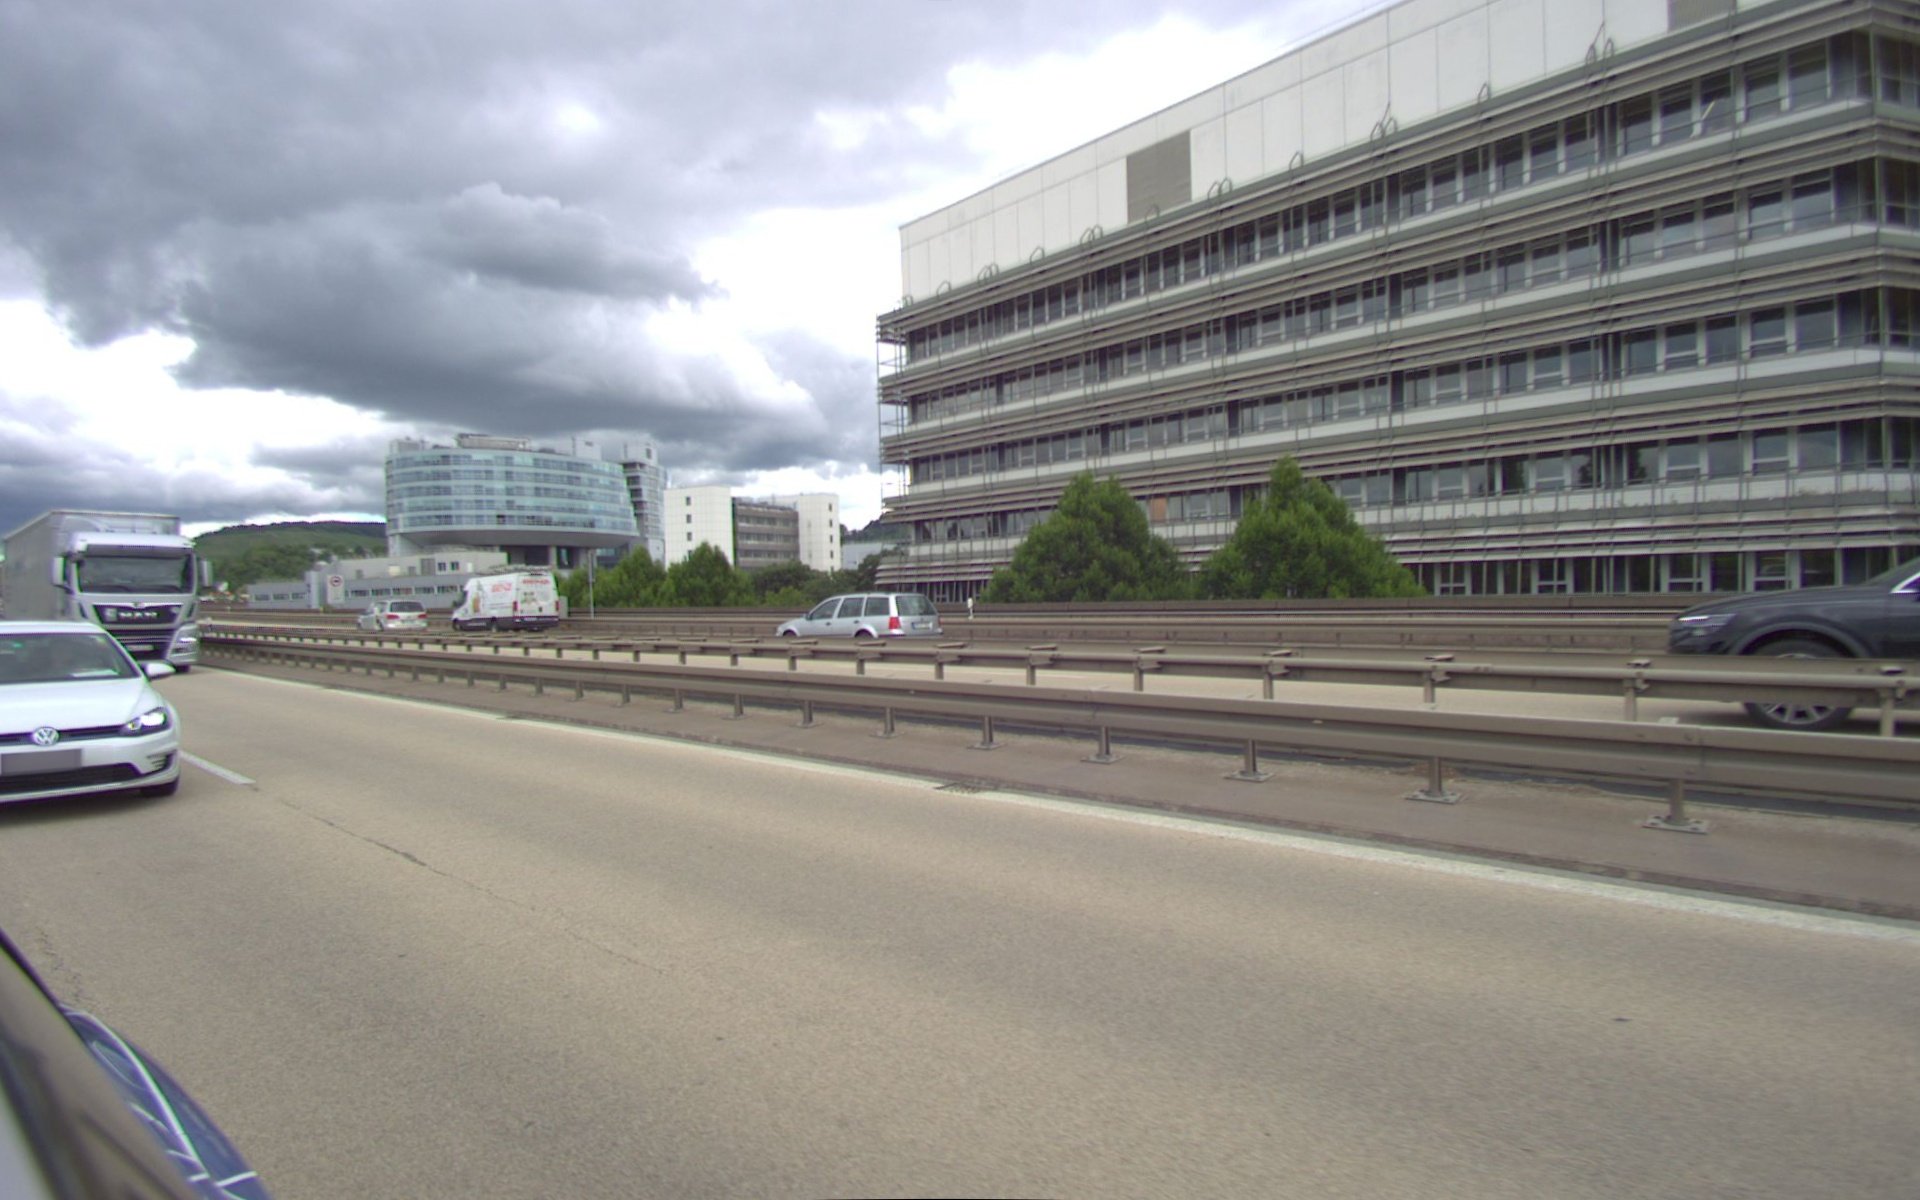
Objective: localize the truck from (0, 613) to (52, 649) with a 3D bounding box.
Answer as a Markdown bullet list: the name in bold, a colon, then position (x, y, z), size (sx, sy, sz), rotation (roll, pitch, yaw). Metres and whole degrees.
- **truck**: position (-42.587, 1.377, 45.915), size (3.514, 1.541, 1.805), rotation (0, 0, 44)

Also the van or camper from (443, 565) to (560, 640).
- **van or camper**: position (-20.129, 0.154, 44.201), size (7.118, 3.031, 2.147), rotation (-1, -1, 44)

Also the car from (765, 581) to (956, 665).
- **car**: position (-2.283, 0.474, 22.468), size (4.448, 1.662, 1.665), rotation (-1, 1, 43)

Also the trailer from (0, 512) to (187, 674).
- **trailer**: position (-26.568, -0.179, 30.588), size (11.766, 4.056, 3.147), rotation (-1, 1, 43)

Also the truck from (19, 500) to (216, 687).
- **truck**: position (-21.044, -0.174, 25.175), size (5.690, 4.067, 3.099), rotation (0, 1, 44)

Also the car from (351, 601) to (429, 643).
- **car**: position (-24.309, 0.898, 43.071), size (4.313, 1.662, 1.664), rotation (0, 1, 43)

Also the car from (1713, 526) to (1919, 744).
- **car**: position (8.576, 0.226, 7.775), size (4.334, 1.662, 1.744), rotation (0, 2, 42)

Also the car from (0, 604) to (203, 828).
- **car**: position (-7.887, 0.803, 8.431), size (4.062, 1.519, 1.904), rotation (0, 0, 44)
